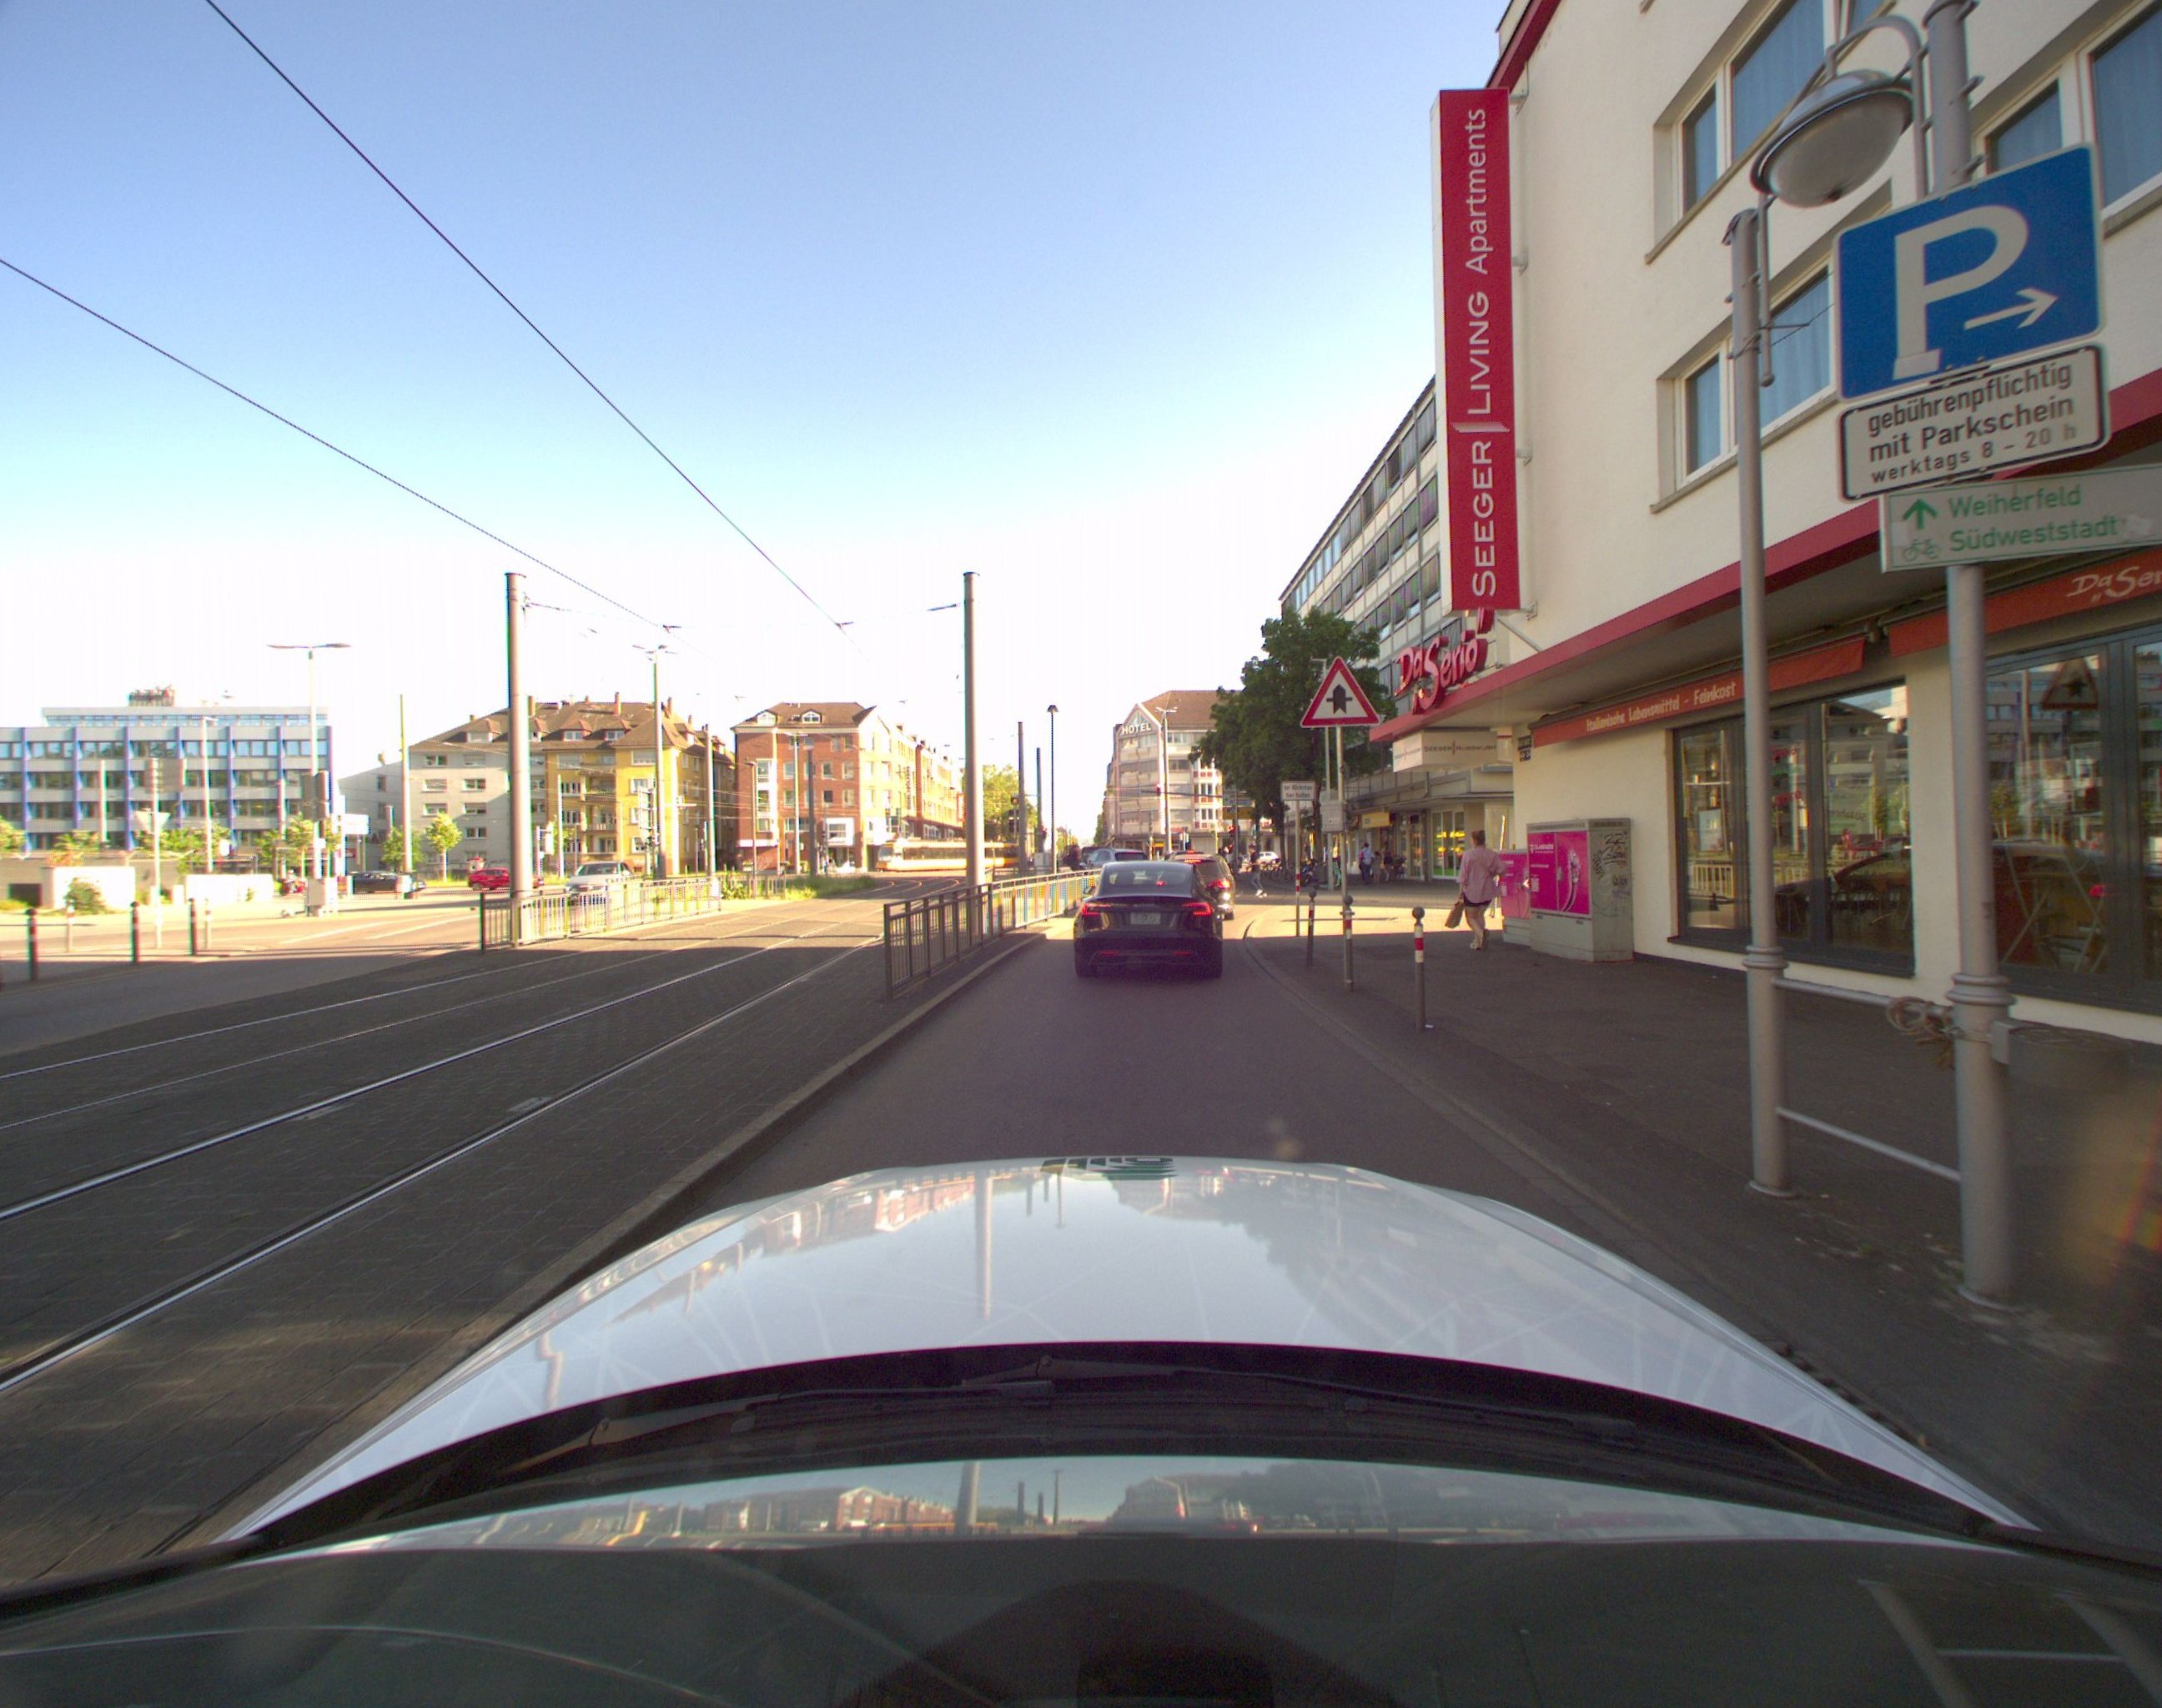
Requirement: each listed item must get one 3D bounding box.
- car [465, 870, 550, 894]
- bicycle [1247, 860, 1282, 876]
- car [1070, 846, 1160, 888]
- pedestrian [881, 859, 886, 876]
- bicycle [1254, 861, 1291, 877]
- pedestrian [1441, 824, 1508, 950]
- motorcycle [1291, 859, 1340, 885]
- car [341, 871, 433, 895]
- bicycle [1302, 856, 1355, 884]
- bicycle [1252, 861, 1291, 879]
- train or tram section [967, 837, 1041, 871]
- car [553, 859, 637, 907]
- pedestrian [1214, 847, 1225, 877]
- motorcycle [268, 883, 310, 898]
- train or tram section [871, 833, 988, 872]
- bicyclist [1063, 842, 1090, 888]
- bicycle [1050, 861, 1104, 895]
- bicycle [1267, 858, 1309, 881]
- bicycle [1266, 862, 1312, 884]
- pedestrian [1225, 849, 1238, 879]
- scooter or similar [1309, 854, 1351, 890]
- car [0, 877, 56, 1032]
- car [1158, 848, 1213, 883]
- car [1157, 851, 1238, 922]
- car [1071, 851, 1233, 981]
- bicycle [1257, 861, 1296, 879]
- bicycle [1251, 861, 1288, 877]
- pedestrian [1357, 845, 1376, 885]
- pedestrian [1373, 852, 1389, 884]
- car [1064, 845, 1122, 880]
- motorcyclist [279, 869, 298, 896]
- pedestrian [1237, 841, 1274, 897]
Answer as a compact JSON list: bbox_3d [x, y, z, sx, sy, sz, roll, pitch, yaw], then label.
[{"bbox_3d":[-37.888,1.816,53.877,4.144,1.490,1.933,0,0,-9],"label":"car"},{"bbox_3d":[10.543,0.798,46.793,1.917,0.890,0.526,-1,-1,2],"label":"bicycle"},{"bbox_3d":[1.228,0.476,31.219,1.791,1.519,4.184,1,0,-24],"label":"car"},{"bbox_3d":[-23.526,1.604,97.065,0.565,2.014,0.349,1,-1,-14],"label":"pedestrian"},{"bbox_3d":[10.528,0.819,44.778,1.917,0.888,0.526,-1,-1,2],"label":"bicycle"},{"bbox_3d":[5.473,0.437,11.357,0.810,1.683,0.718,1,-1,24],"label":"pedestrian"},{"bbox_3d":[10.218,0.778,35.515,1.984,1.128,0.596,1,-1,0],"label":"motorcycle"},{"bbox_3d":[-45.650,1.898,53.653,4.144,1.490,1.933,0,0,-9],"label":"car"},{"bbox_3d":[10.194,0.642,33.545,2.043,1.121,0.483,-1,-1,2],"label":"bicycle"},{"bbox_3d":[10.212,0.848,43.680,1.917,0.950,0.526,-1,-1,2],"label":"bicycle"},{"bbox_3d":[-8.898,0.093,97.901,2.615,3.718,15.460,0,0,19],"label":"train or tram section"},{"bbox_3d":[-17.657,0.995,29.797,1.788,1.568,4.264,-2,0,-20],"label":"car"},{"bbox_3d":[7.770,0.457,45.831,0.559,1.683,0.751,0,0,6],"label":"pedestrian"},{"bbox_3d":[-51.083,2.351,52.522,1.996,0.893,0.560,1,-1,-7],"label":"motorcycle"},{"bbox_3d":[-15.425,-0.080,84.746,2.648,3.715,14.281,0,-1,34],"label":"train or tram section"},{"bbox_3d":[-0.162,0.372,27.036,0.835,1.500,0.558,1,-1,-7],"label":"bicyclist"},{"bbox_3d":[-0.138,0.794,27.028,1.726,1.088,0.676,1,-1,-7],"label":"bicycle"},{"bbox_3d":[10.084,0.755,39.720,1.917,1.097,0.555,-1,-1,2],"label":"bicycle"},{"bbox_3d":[9.637,0.868,37.778,2.043,0.982,0.483,-1,-1,2],"label":"bicycle"},{"bbox_3d":[8.035,0.539,43.548,0.626,1.613,0.643,0,0,4],"label":"pedestrian"},{"bbox_3d":[9.528,0.683,31.174,1.415,1.317,0.691,0,-2,-25],"label":"scooter or similar"},{"bbox_3d":[-11.234,1.001,6.268,1.765,1.512,4.264,-1,0,-10],"label":"car"},{"bbox_3d":[4.828,0.509,38.058,1.821,1.519,3.644,1,0,-4],"label":"car"},{"bbox_3d":[2.739,0.665,18.775,1.643,1.418,4.011,1,0,10],"label":"car"},{"bbox_3d":[0.814,0.722,11.183,1.843,1.484,3.786,0,0,0],"label":"car"},{"bbox_3d":[10.222,0.842,42.664,1.917,0.950,0.526,-1,-1,2],"label":"bicycle"},{"bbox_3d":[10.626,0.837,45.921,1.917,0.890,0.526,-1,-1,2],"label":"bicycle"},{"bbox_3d":[11.816,0.443,33.734,0.593,1.641,0.466,-2,-1,2],"label":"pedestrian"},{"bbox_3d":[12.402,0.585,33.690,0.418,1.280,0.531,-2,-1,2],"label":"pedestrian"},{"bbox_3d":[0.485,0.379,37.476,1.825,1.519,4.201,1,0,-12],"label":"car"},{"bbox_3d":[-51.098,1.851,52.493,0.780,1.708,0.387,1,-1,-7],"label":"motorcyclist"},{"bbox_3d":[5.492,0.469,25.655,1.009,1.742,0.524,1,-1,-24],"label":"pedestrian"}]
